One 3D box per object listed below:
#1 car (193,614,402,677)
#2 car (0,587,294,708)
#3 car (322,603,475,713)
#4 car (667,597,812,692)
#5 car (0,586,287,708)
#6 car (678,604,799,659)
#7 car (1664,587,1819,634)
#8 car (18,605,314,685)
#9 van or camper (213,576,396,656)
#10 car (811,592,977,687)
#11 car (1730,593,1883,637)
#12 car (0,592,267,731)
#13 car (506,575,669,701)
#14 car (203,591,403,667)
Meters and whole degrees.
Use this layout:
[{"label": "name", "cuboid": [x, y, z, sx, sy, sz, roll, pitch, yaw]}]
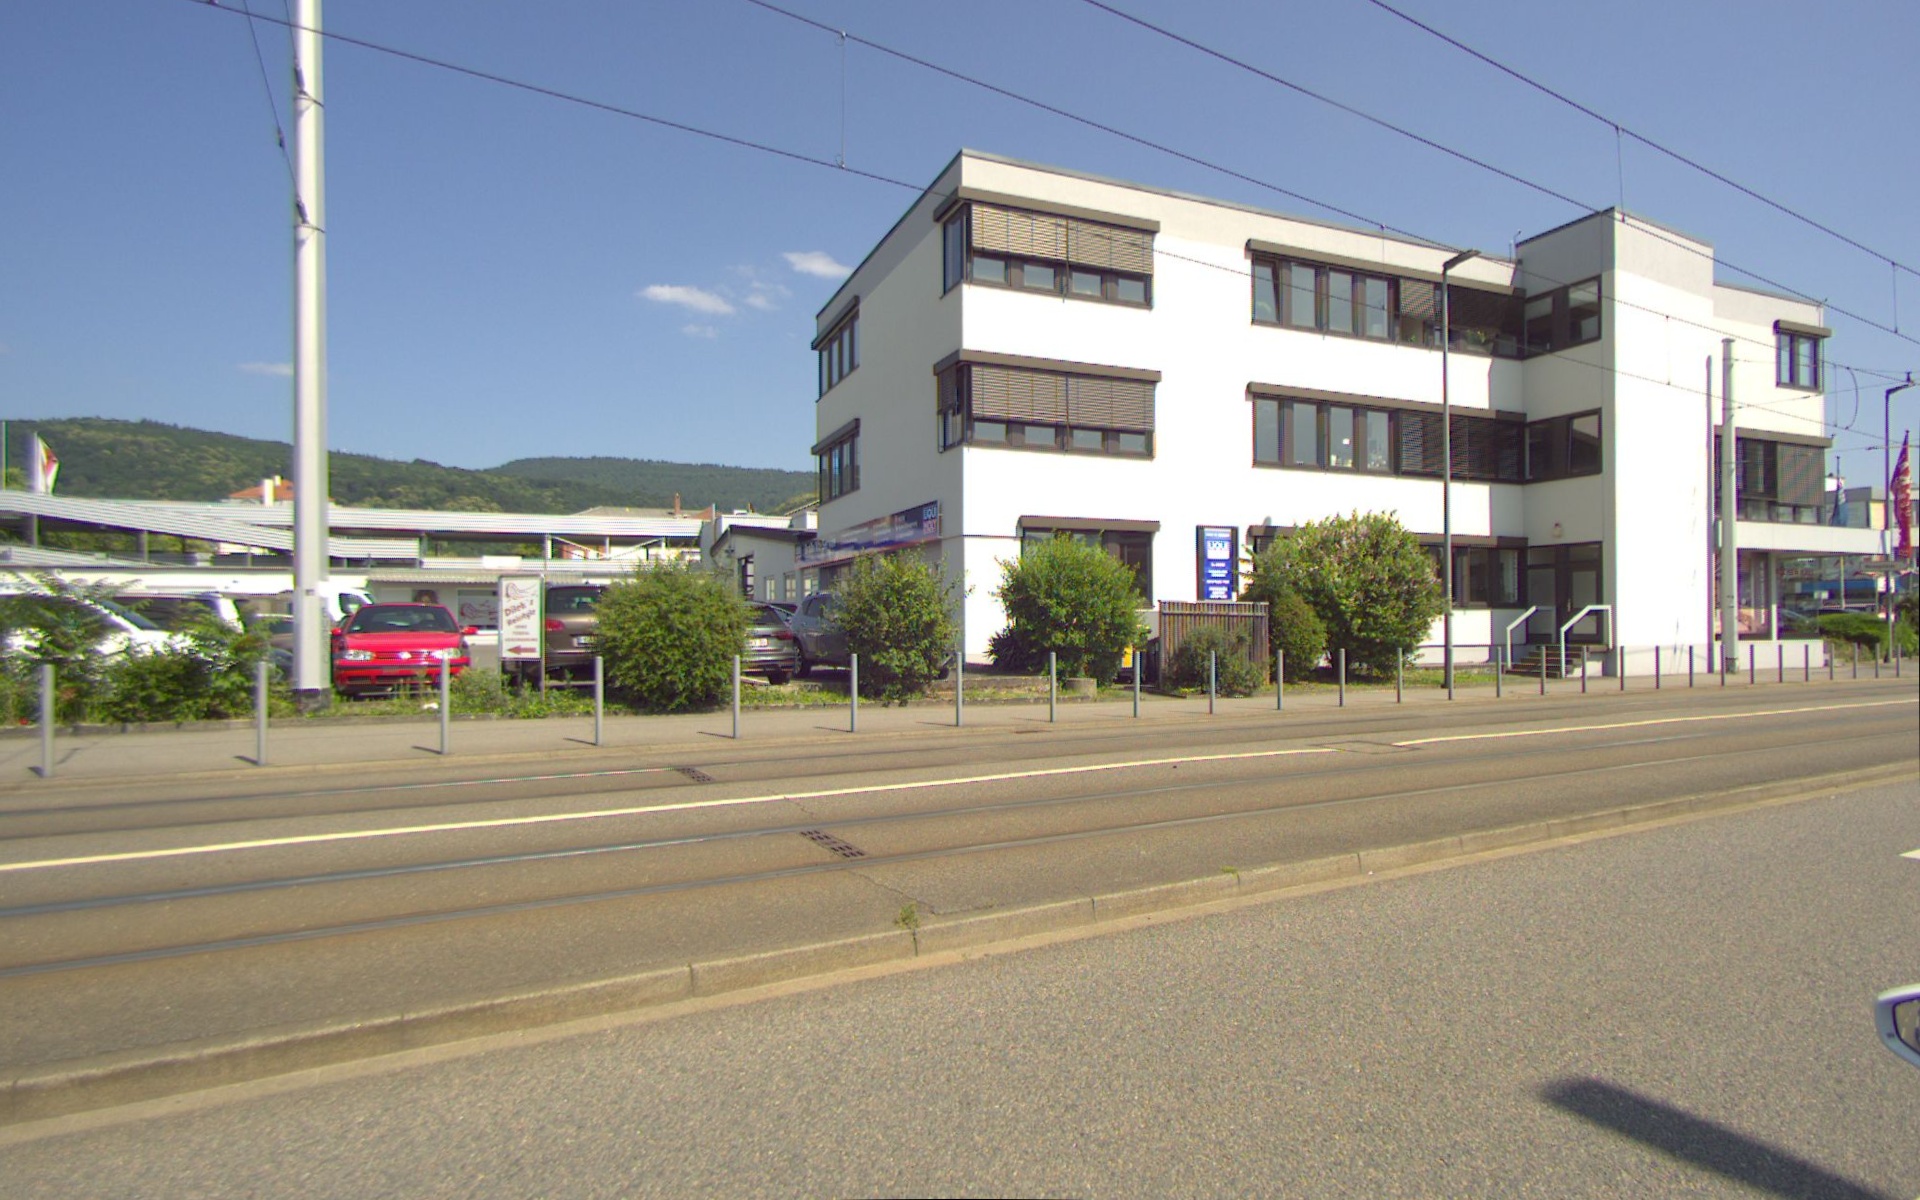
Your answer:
[{"label": "car", "cuboid": [-17.623, 1.183, 26.996, 4.363, 1.578, 1.980, 1, -2, -24]}, {"label": "car", "cuboid": [-12.066, 0.654, 14.383, 3.878, 1.588, 1.847, 1, -1, -23]}, {"label": "car", "cuboid": [-8.147, 0.775, 14.840, 1.725, 1.388, 3.811, 1, -1, -26]}, {"label": "car", "cuboid": [-3.823, 0.712, 17.026, 1.529, 1.441, 3.373, 1, -1, -29]}, {"label": "car", "cuboid": [-13.519, 0.733, 16.315, 3.942, 1.808, 1.990, 1, -1, -22]}, {"label": "car", "cuboid": [-6.034, 0.856, 27.290, 3.083, 1.445, 1.416, 1, -2, -18]}, {"label": "car", "cuboid": [28.025, 0.400, 36.160, 1.974, 1.584, 3.974, 1, -1, -26]}, {"label": "car", "cuboid": [-14.616, 0.810, 18.786, 3.942, 1.376, 1.838, 1, -1, -22]}, {"label": "van or camper", "cuboid": [-20.228, 0.507, 31.229, 4.542, 2.336, 1.769, 1, 0, -26]}, {"label": "car", "cuboid": [-1.299, 0.674, 18.410, 1.459, 1.549, 3.602, 1, -1, -33]}, {"label": "car", "cuboid": [31.711, 0.540, 37.747, 1.973, 1.539, 3.974, -2, 0, -26]}, {"label": "car", "cuboid": [-10.932, 0.710, 12.247, 3.782, 1.562, 1.731, 1, -1, -24]}, {"label": "car", "cuboid": [-6.070, 0.572, 16.096, 1.975, 1.728, 3.972, 1, -1, -27]}, {"label": "car", "cuboid": [-18.844, 0.836, 29.083, 4.516, 2.040, 2.046, 1, -1, -24]}]
